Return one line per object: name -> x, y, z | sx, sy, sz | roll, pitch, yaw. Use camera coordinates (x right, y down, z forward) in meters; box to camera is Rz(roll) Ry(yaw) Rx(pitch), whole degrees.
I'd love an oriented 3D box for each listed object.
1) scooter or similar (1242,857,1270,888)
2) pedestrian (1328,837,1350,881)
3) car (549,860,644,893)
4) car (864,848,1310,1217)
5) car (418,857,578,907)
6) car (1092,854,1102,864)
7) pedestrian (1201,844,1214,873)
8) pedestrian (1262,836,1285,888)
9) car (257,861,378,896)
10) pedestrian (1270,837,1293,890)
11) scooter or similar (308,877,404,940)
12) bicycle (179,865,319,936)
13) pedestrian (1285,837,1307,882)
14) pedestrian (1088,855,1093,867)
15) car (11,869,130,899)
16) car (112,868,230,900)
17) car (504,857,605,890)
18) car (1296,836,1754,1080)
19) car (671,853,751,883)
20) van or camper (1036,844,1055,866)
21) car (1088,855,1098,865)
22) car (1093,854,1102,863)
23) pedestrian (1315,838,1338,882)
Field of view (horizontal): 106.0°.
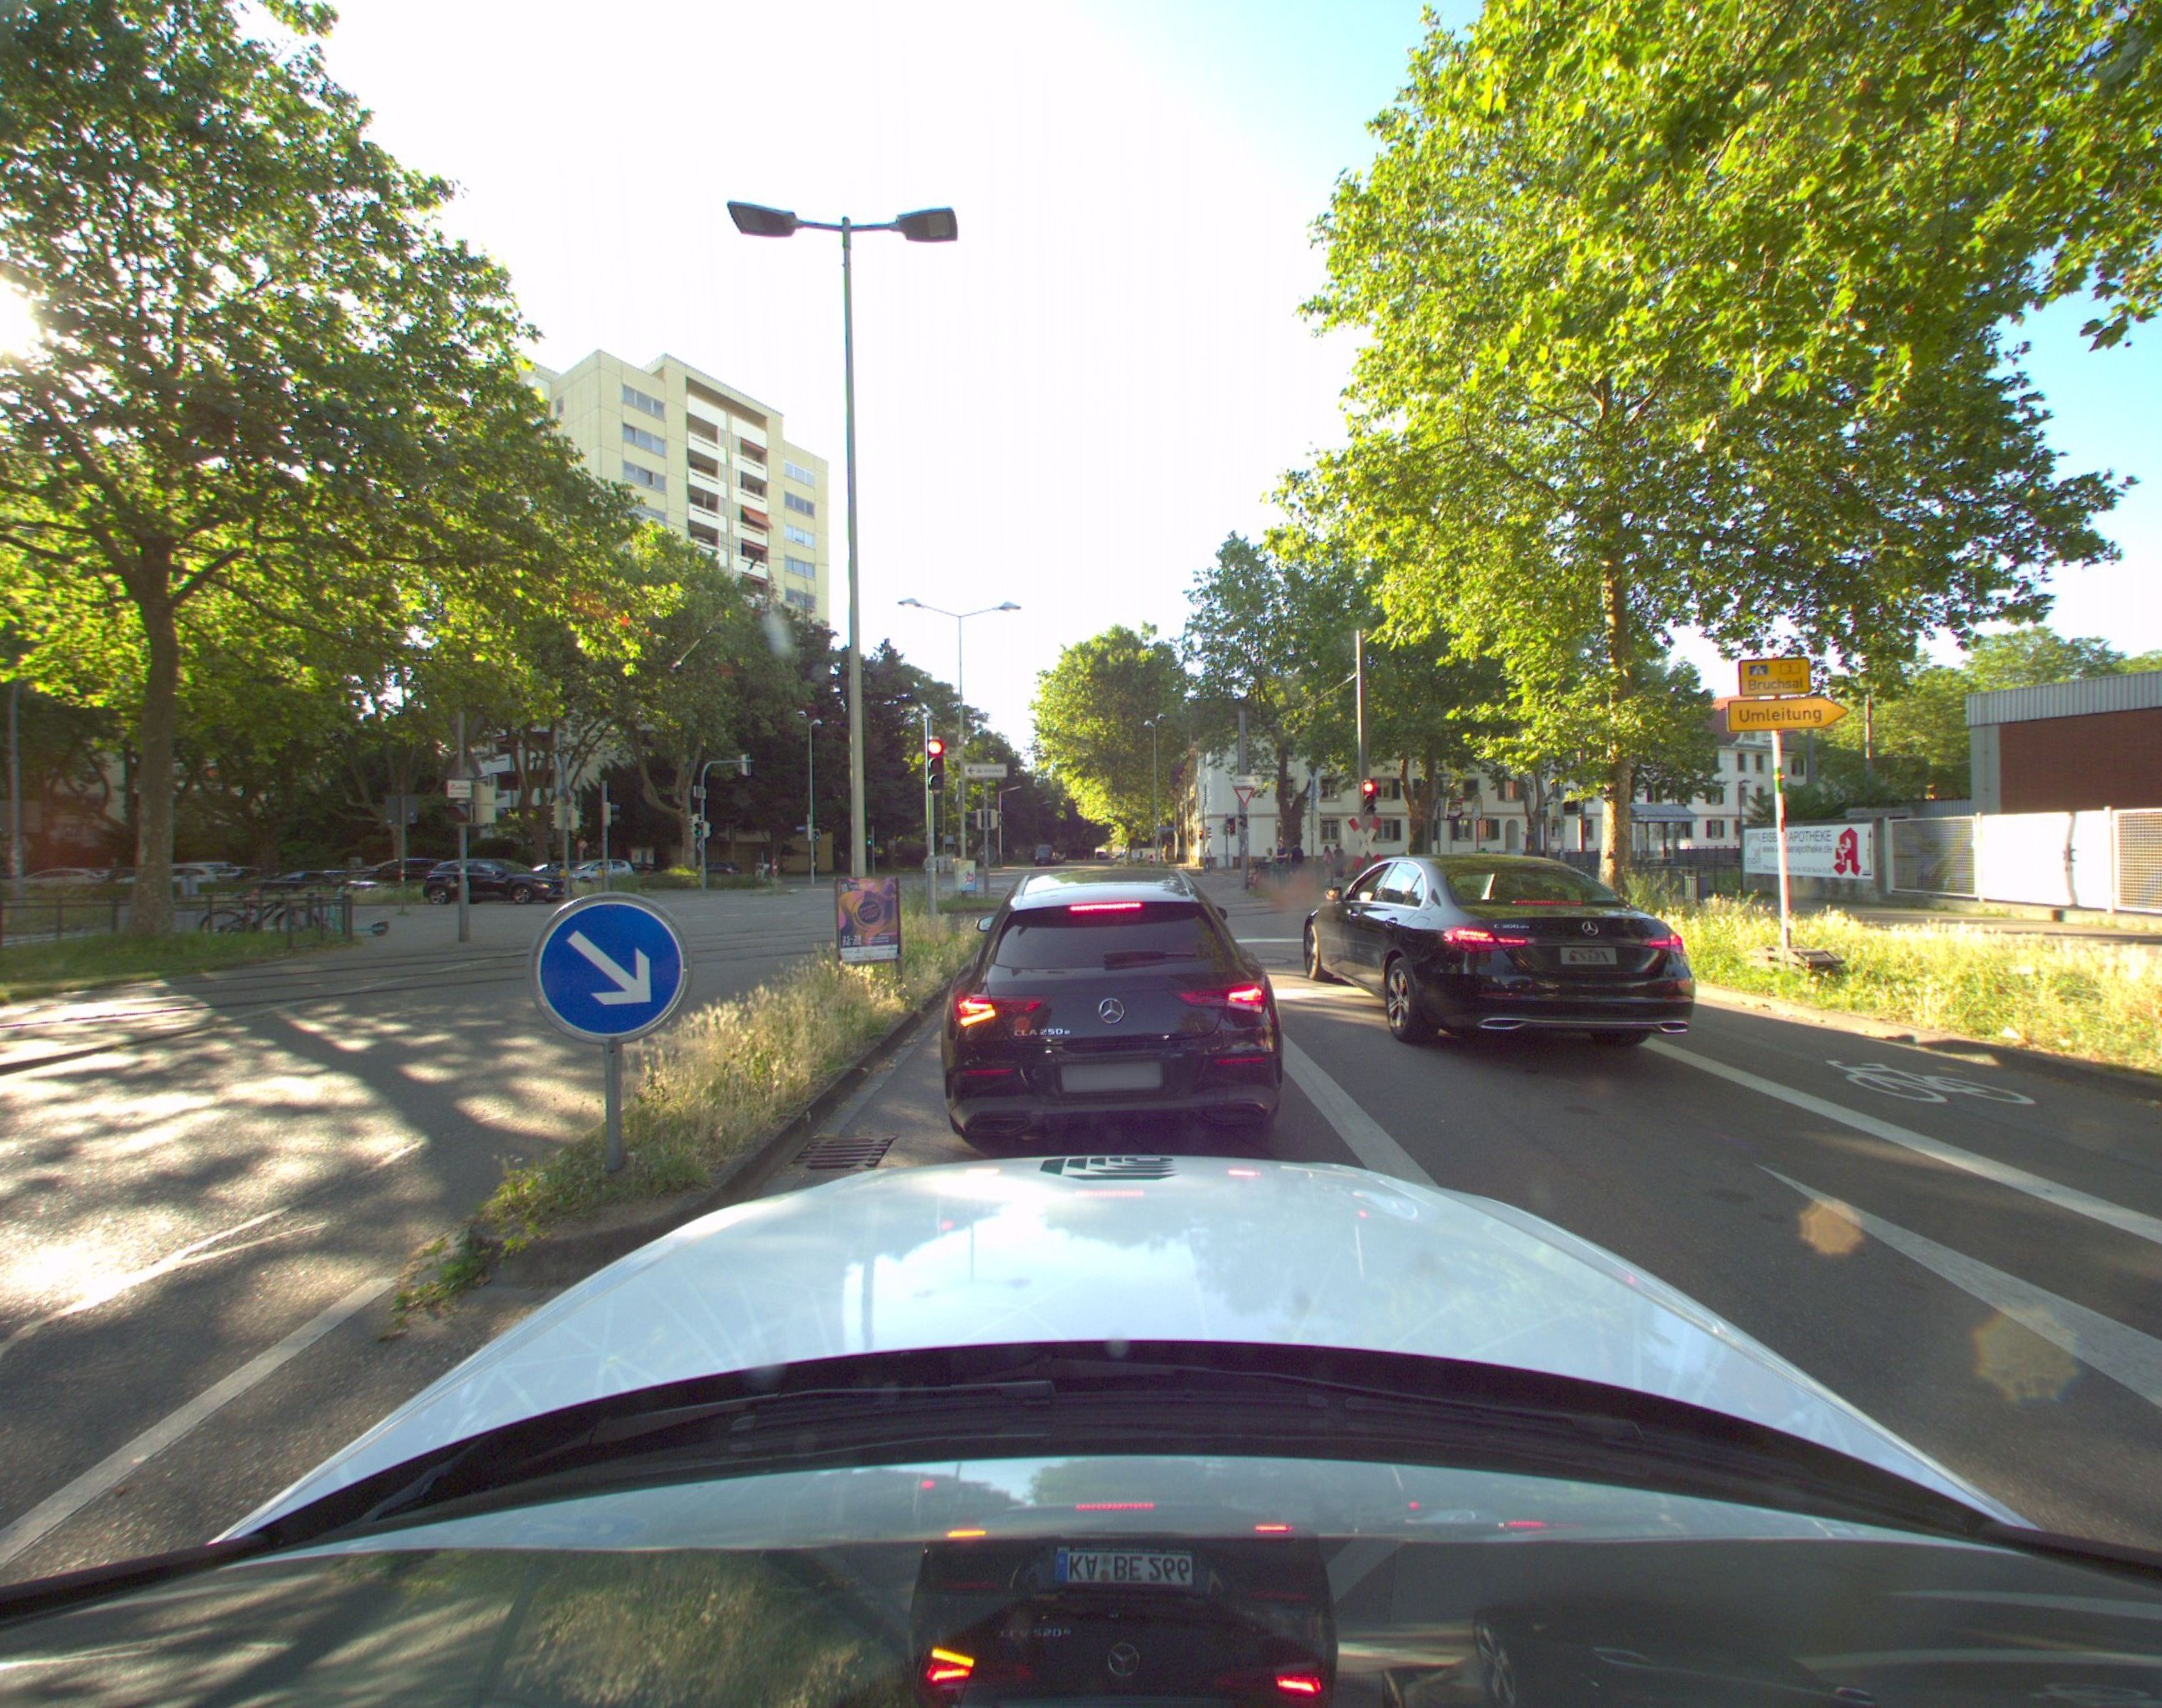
scooter or similar -> 6.516, 0.682, 30.296 | 0.826, 1.104, 0.808 | 0, -1, -4
pedestrian -> 11.569, 0.230, 36.540 | 0.703, 1.918, 0.838 | 0, -1, -2
car -> -24.927, 1.129, 42.027 | 1.716, 1.596, 3.831 | -1, -1, 32
car -> 0.133, 0.741, 5.448 | 1.881, 1.450, 4.004 | 0, 2, 3
car -> -19.440, 0.908, 27.308 | 3.981, 1.596, 1.735 | 0, -1, -5
car -> 2.910, 0.988, 150.542 | 1.727, 1.765, 4.020 | 0, -1, 2
pedestrian -> 8.412, 0.320, 54.004 | 0.703, 1.918, 0.838 | 0, -1, -2
pedestrian -> 7.284, 0.297, 30.860 | 0.681, 1.918, 0.707 | 0, -1, -2
car -> -37.418, 1.147, 39.999 | 1.716, 1.596, 4.025 | -1, -1, 32
pedestrian -> 7.409, 0.343, 30.084 | 0.680, 1.918, 0.707 | 0, -1, 0
scooter or similar -> -15.096, 1.106, 16.983 | 0.408, 1.239, 1.450 | -1, -1, 40
bicycle -> -15.956, 0.870, 15.671 | 1.845, 1.307, 0.380 | 0, -1, -26
pedestrian -> 9.278, 0.251, 35.178 | 0.703, 1.918, 0.838 | 0, -1, -2
pedestrian -> 1.533, 1.058, 130.201 | 0.704, 1.918, 0.837 | 0, -1, -8
car -> -57.104, 1.669, 46.075 | 1.716, 1.596, 4.025 | -1, -1, 32
car -> -49.164, 1.590, 44.072 | 1.716, 1.596, 4.025 | -1, -1, 32
car -> -27.156, 0.976, 42.121 | 1.716, 1.596, 4.025 | -1, -1, 32
car -> 3.374, 0.610, 7.336 | 1.882, 1.490, 4.385 | 0, 2, 2
car -> -22.643, 0.854, 49.924 | 3.963, 1.774, 2.005 | -1, -1, 9
van or camper -> -4.312, 0.133, 100.049 | 1.986, 2.541, 4.653 | 0, -1, 2
car -> 2.099, 1.015, 145.737 | 1.727, 1.765, 4.020 | 0, -1, 2
car -> 3.241, 0.910, 158.625 | 1.727, 1.765, 4.020 | 0, -1, 2
pedestrian -> 10.719, 0.258, 35.560 | 0.703, 1.918, 0.838 | 0, -1, -2
